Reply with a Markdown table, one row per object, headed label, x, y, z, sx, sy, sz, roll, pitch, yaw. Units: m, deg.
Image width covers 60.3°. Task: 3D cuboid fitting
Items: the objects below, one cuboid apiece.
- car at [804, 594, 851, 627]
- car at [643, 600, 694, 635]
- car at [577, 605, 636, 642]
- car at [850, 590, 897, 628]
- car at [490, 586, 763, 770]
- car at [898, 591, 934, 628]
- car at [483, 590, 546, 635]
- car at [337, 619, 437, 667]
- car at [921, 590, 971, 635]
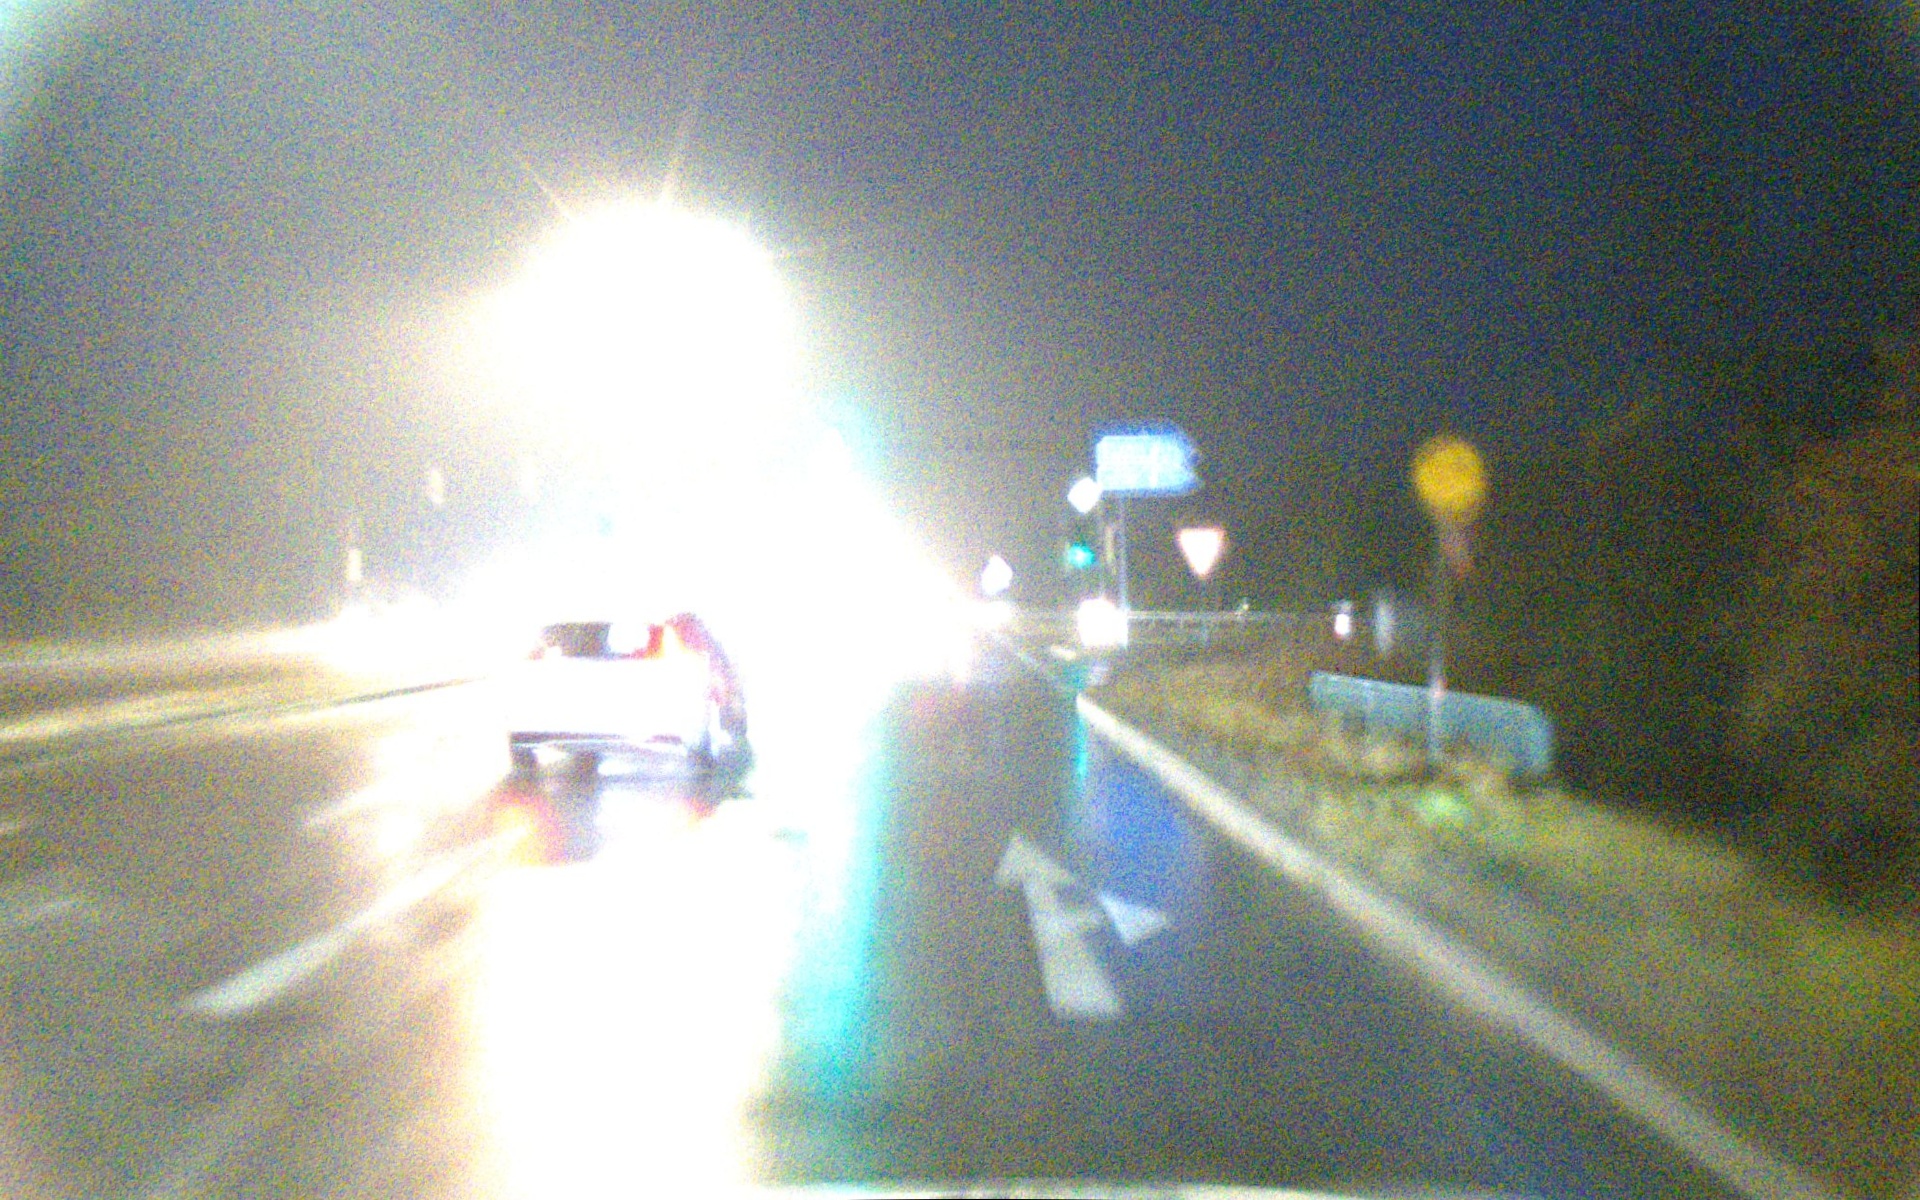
| label | x | y | z | sx | sy | sz | roll | pitch | yaw |
| --- | --- | --- | --- | --- | --- | --- | --- | --- | --- |
| car | -7.765 | 0.658 | 97.132 | 2.132 | 1.629 | 4.000 | 4 | -3 | 3 |
| car | -12.411 | 0.737 | 70.516 | 1.557 | 1.452 | 3.350 | 0 | 0 | 0 |
| car | -16.100 | 1.057 | 75.539 | 1.745 | 1.636 | 4.244 | 0 | 0 | 0 |
| car | -4.397 | 0.490 | 84.623 | 2.133 | 1.629 | 3.999 | 4 | -3 | 0 |
| car | -2.938 | 0.623 | 15.466 | 1.760 | 1.477 | 4.267 | 0 | 0 | -1 |
| car | -2.644 | 0.607 | 100.129 | 1.953 | 1.871 | 3.998 | 5 | -3 | 0 |
| car | -19.747 | 0.548 | 73.469 | 1.726 | 1.925 | 4.204 | 0 | 0 | -1 |
| car | -15.816 | 1.165 | 45.797 | 1.610 | 1.224 | 3.613 | 0 | 0 | -2 |
| car | -0.569 | 0.571 | 71.809 | 1.870 | 1.629 | 4.000 | 4 | -3 | 3 |
